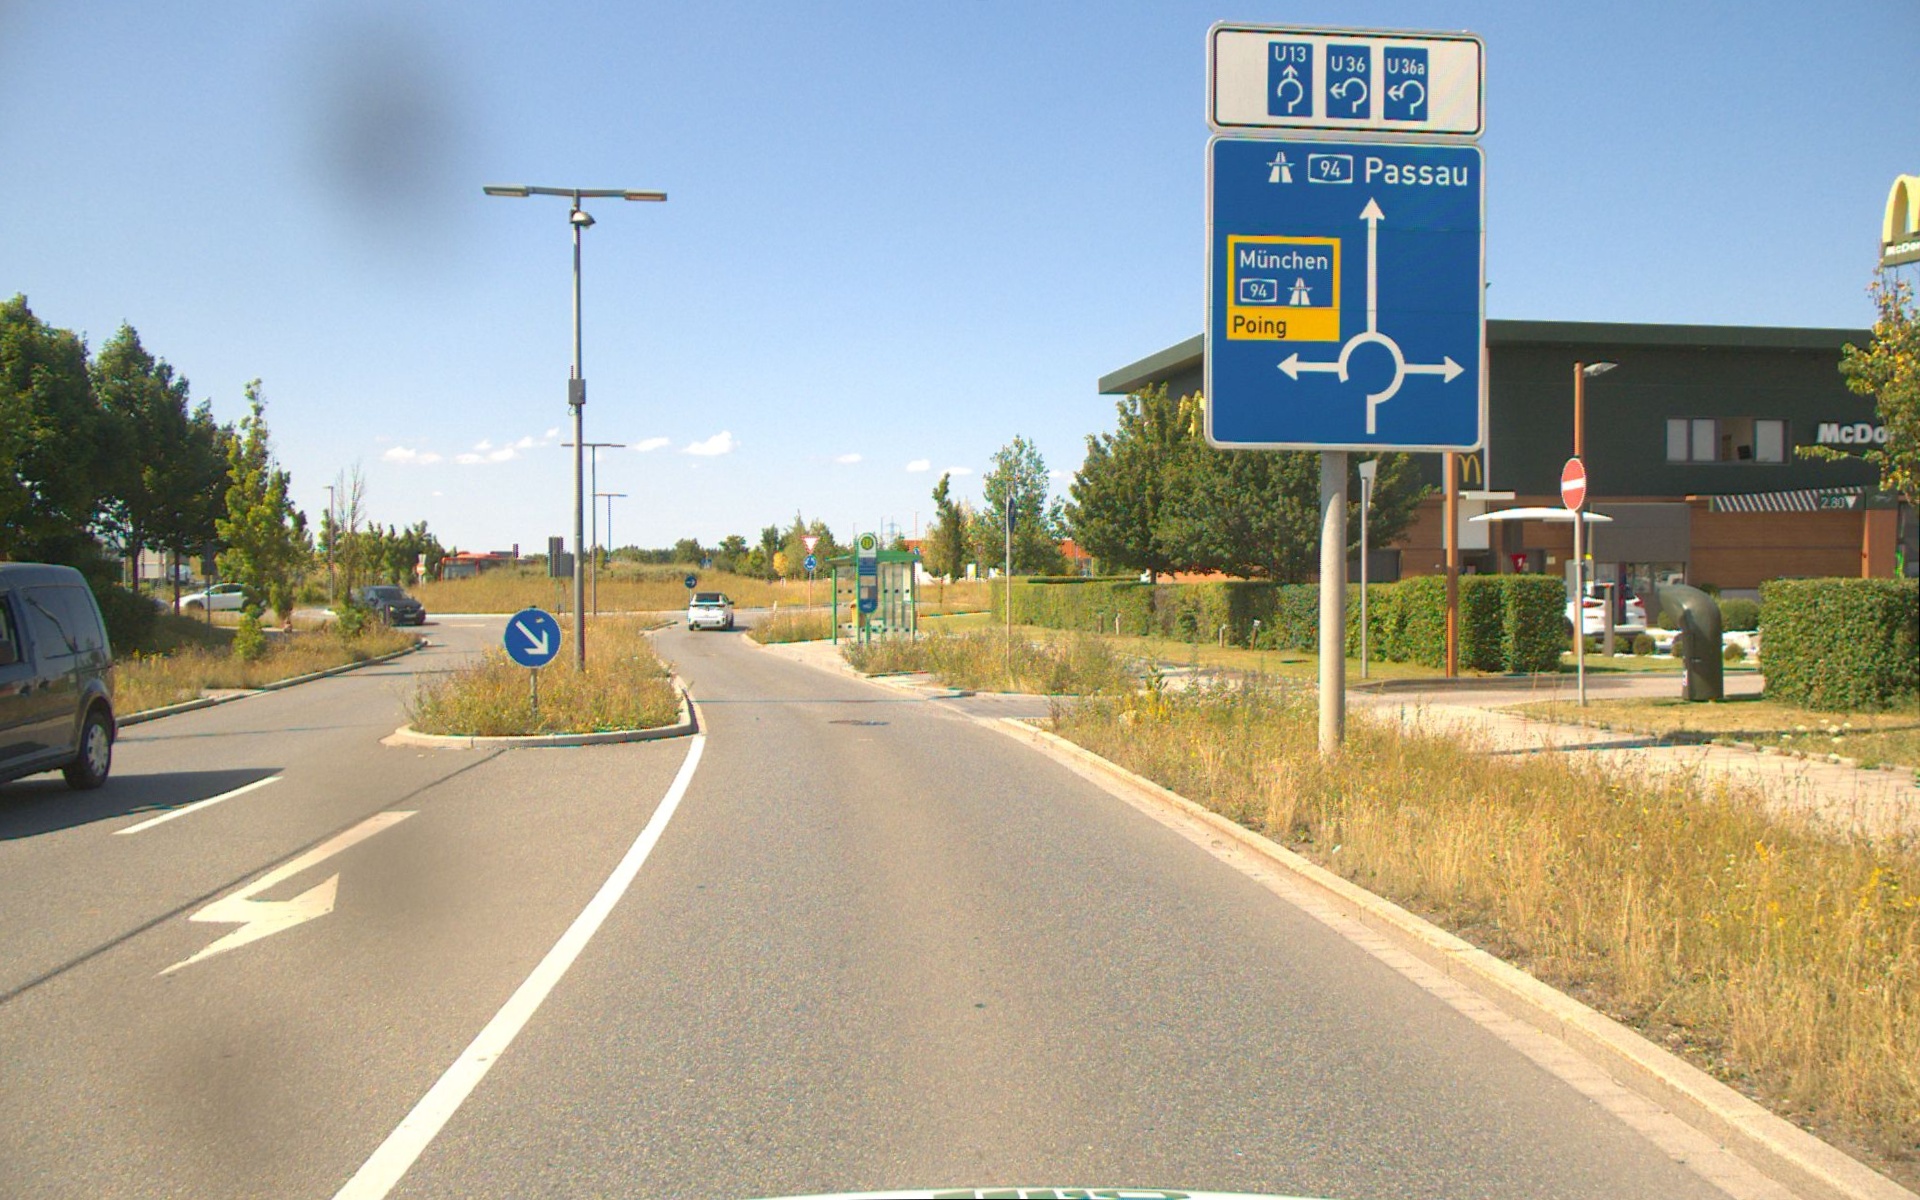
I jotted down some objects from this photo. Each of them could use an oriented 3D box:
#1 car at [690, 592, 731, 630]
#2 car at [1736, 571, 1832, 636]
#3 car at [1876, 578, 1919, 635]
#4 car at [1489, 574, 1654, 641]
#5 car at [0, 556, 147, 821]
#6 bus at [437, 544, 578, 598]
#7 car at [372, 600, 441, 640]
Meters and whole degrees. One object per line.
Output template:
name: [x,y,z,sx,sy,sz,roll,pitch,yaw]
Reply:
car: [-9.986,0.433,66.065,1.587,1.459,3.784,0,0,-10]
car: [21.981,0.078,44.243,1.755,1.632,4.002,-1,0,19]
car: [26.020,0.147,44.438,1.755,1.459,4.002,-1,0,19]
car: [14.139,0.166,38.458,1.761,1.459,3.989,-1,0,-12]
car: [-7.644,0.631,11.843,1.914,1.826,4.419,-2,1,-8]
bus: [-29.265,-1.971,107.807,2.728,3.132,12.213,-1,2,17]
car: [-23.279,0.844,69.477,1.743,1.570,4.192,-3,1,-33]
